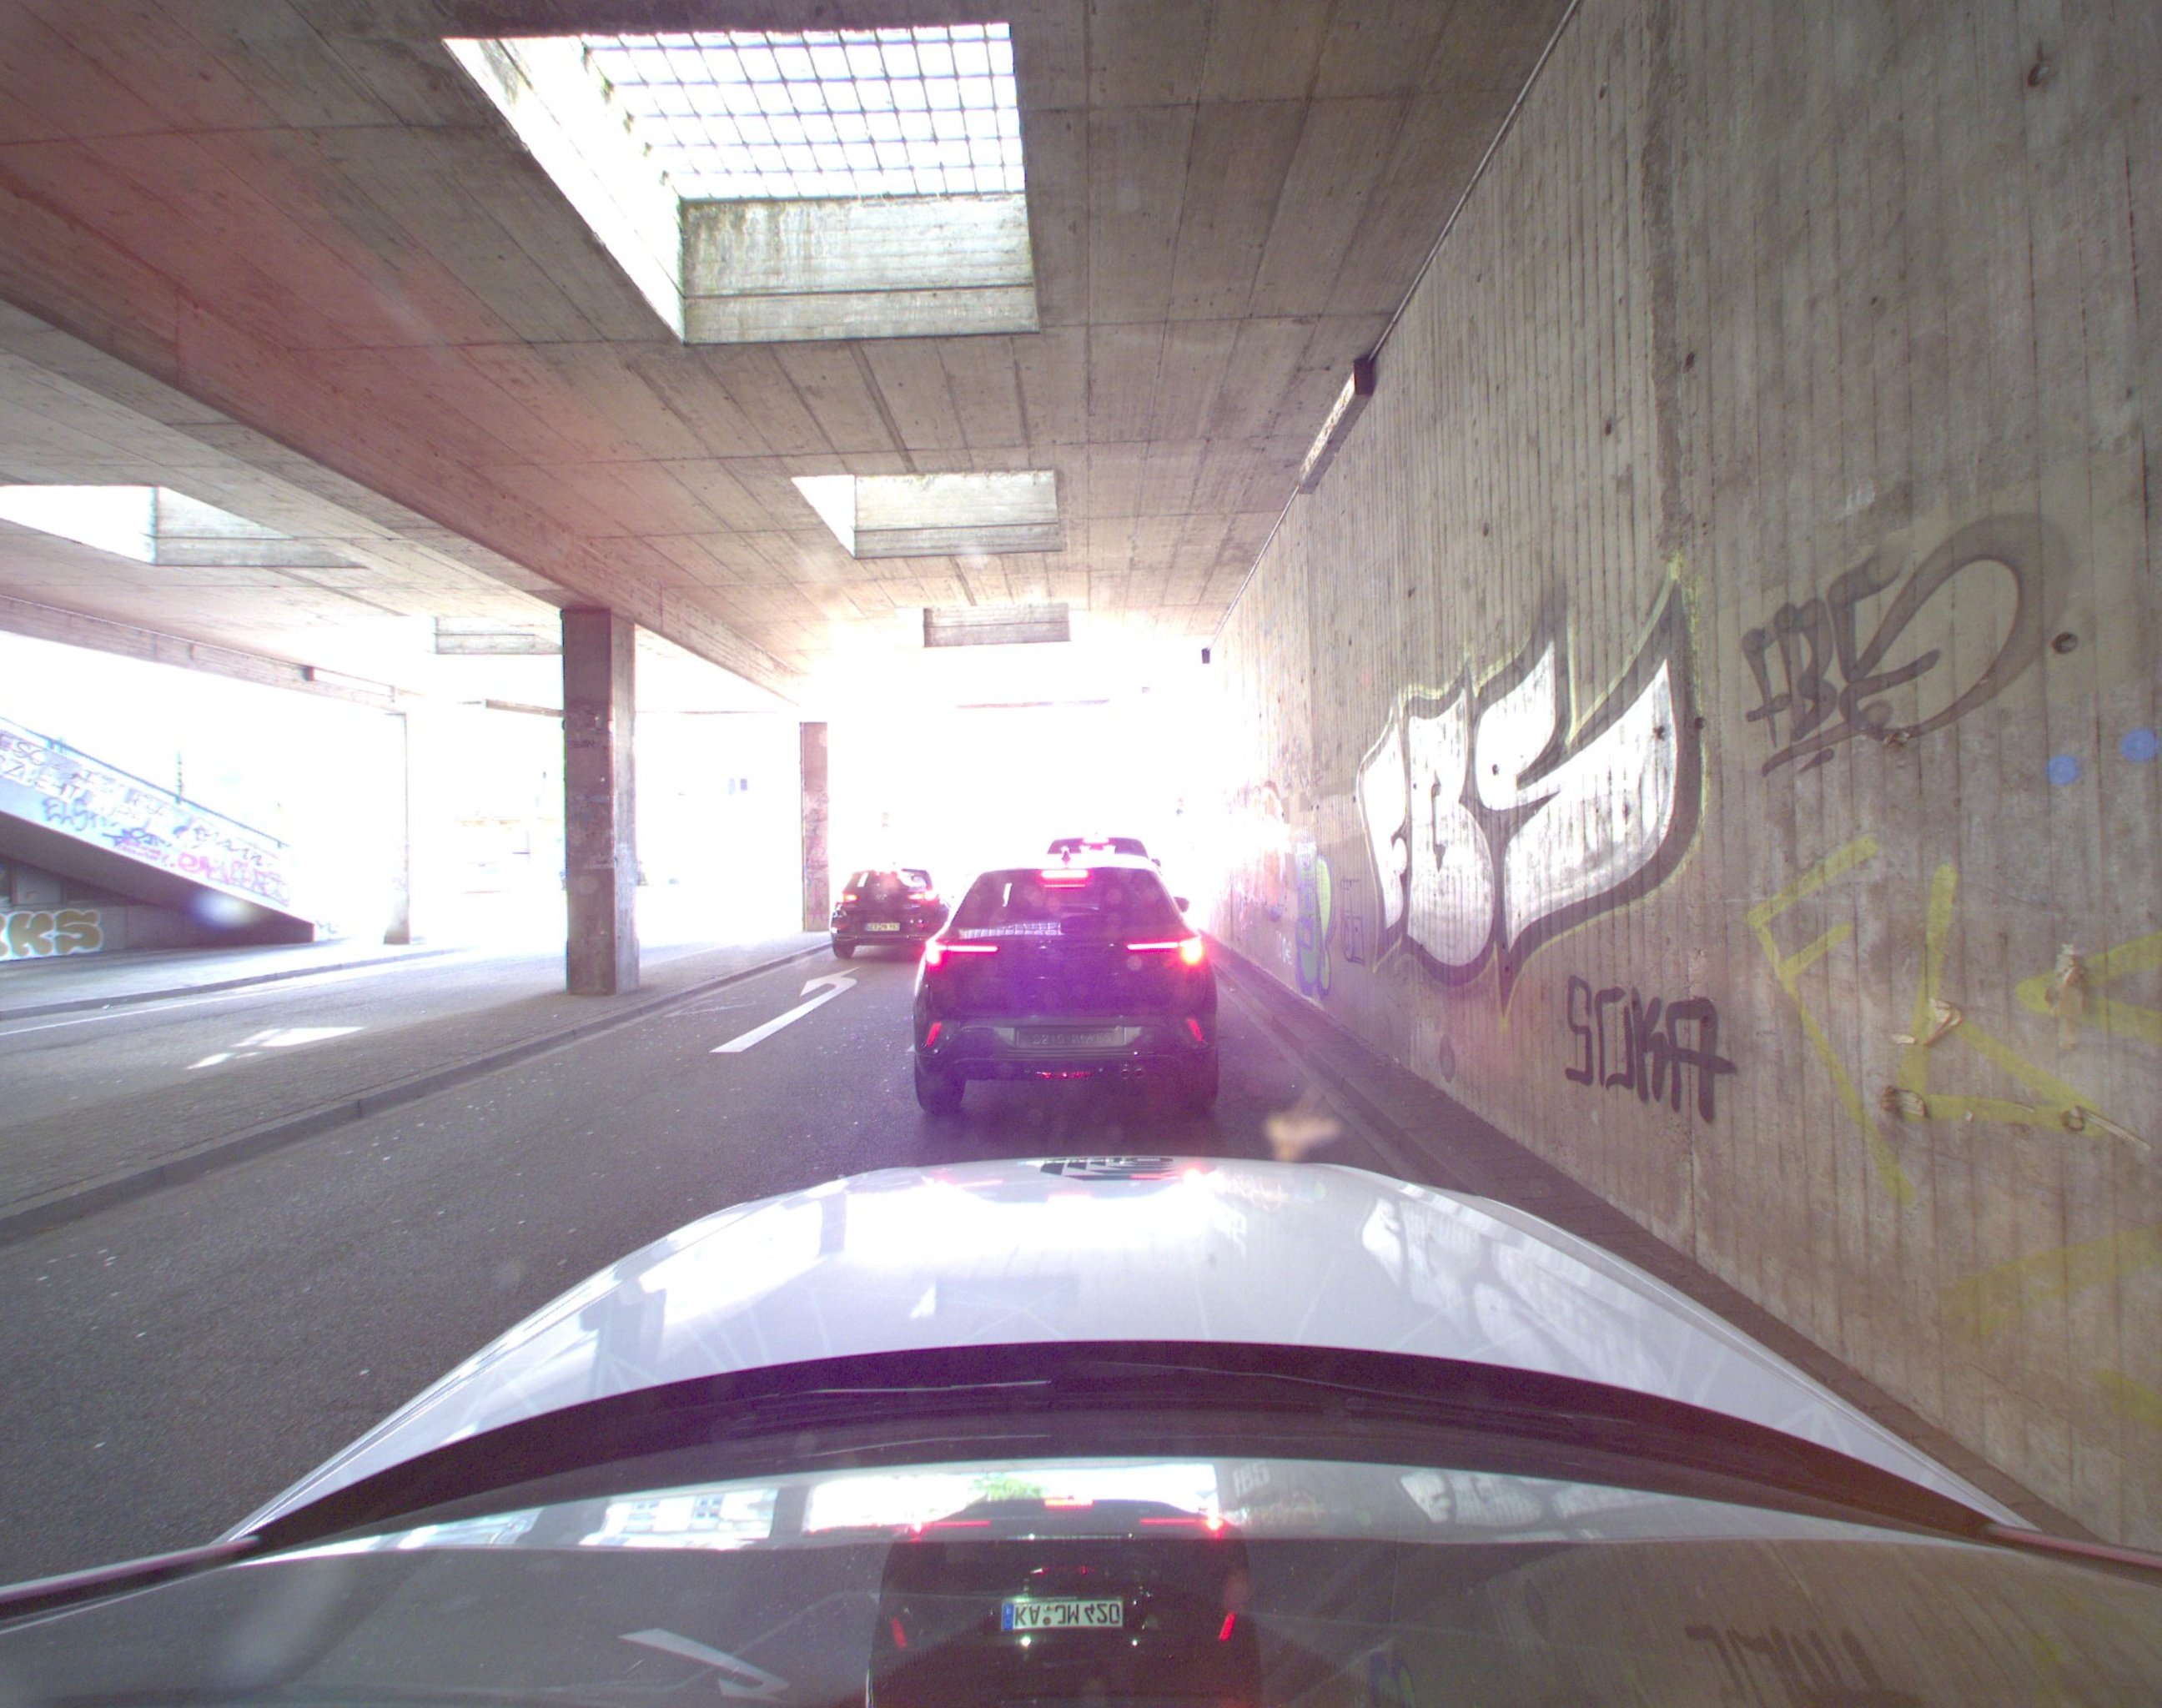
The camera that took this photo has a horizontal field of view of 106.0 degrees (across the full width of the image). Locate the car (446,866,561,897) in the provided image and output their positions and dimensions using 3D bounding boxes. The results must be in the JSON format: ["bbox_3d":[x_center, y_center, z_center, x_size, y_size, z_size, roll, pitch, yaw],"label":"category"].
[{"bbox_3d":[-28.222,1.313,39.875,4.263,1.398,1.883,-1,-1,1],"label":"car"}]

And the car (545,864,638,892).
[{"bbox_3d":[-27.173,1.311,45.317,4.096,1.475,1.737,-1,-1,0],"label":"car"}]

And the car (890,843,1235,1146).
[{"bbox_3d":[-0.031,0.730,6.249,1.755,1.531,4.091,-1,0,2],"label":"car"}]

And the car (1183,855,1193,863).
[{"bbox_3d":[23.137,1.172,175.313,1.742,1.667,3.958,0,-1,13],"label":"car"}]

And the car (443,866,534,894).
[{"bbox_3d":[-32.930,1.432,45.295,3.748,1.475,1.749,-1,-1,0],"label":"car"}]

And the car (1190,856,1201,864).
[{"bbox_3d":[23.002,1.228,163.809,1.805,1.667,4.833,-1,-1,13],"label":"car"}]

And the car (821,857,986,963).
[{"bbox_3d":[-2.751,0.802,13.508,1.755,1.480,3.846,-1,0,2],"label":"car"}]

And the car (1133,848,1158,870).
[{"bbox_3d":[4.968,0.382,62.275,1.745,1.667,3.950,0,-1,6],"label":"car"}]

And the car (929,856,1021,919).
[{"bbox_3d":[-2.662,0.797,21.236,1.755,1.480,3.846,-1,0,2],"label":"car"}]

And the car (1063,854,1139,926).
[{"bbox_3d":[0.491,0.765,19.407,1.603,1.513,4.055,-1,0,2],"label":"car"}]

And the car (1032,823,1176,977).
[{"bbox_3d":[0.354,0.570,12.188,1.755,1.883,4.148,-1,0,2],"label":"car"}]

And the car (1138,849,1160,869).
[{"bbox_3d":[5.756,0.426,68.379,1.745,1.667,3.950,0,-1,6],"label":"car"}]
